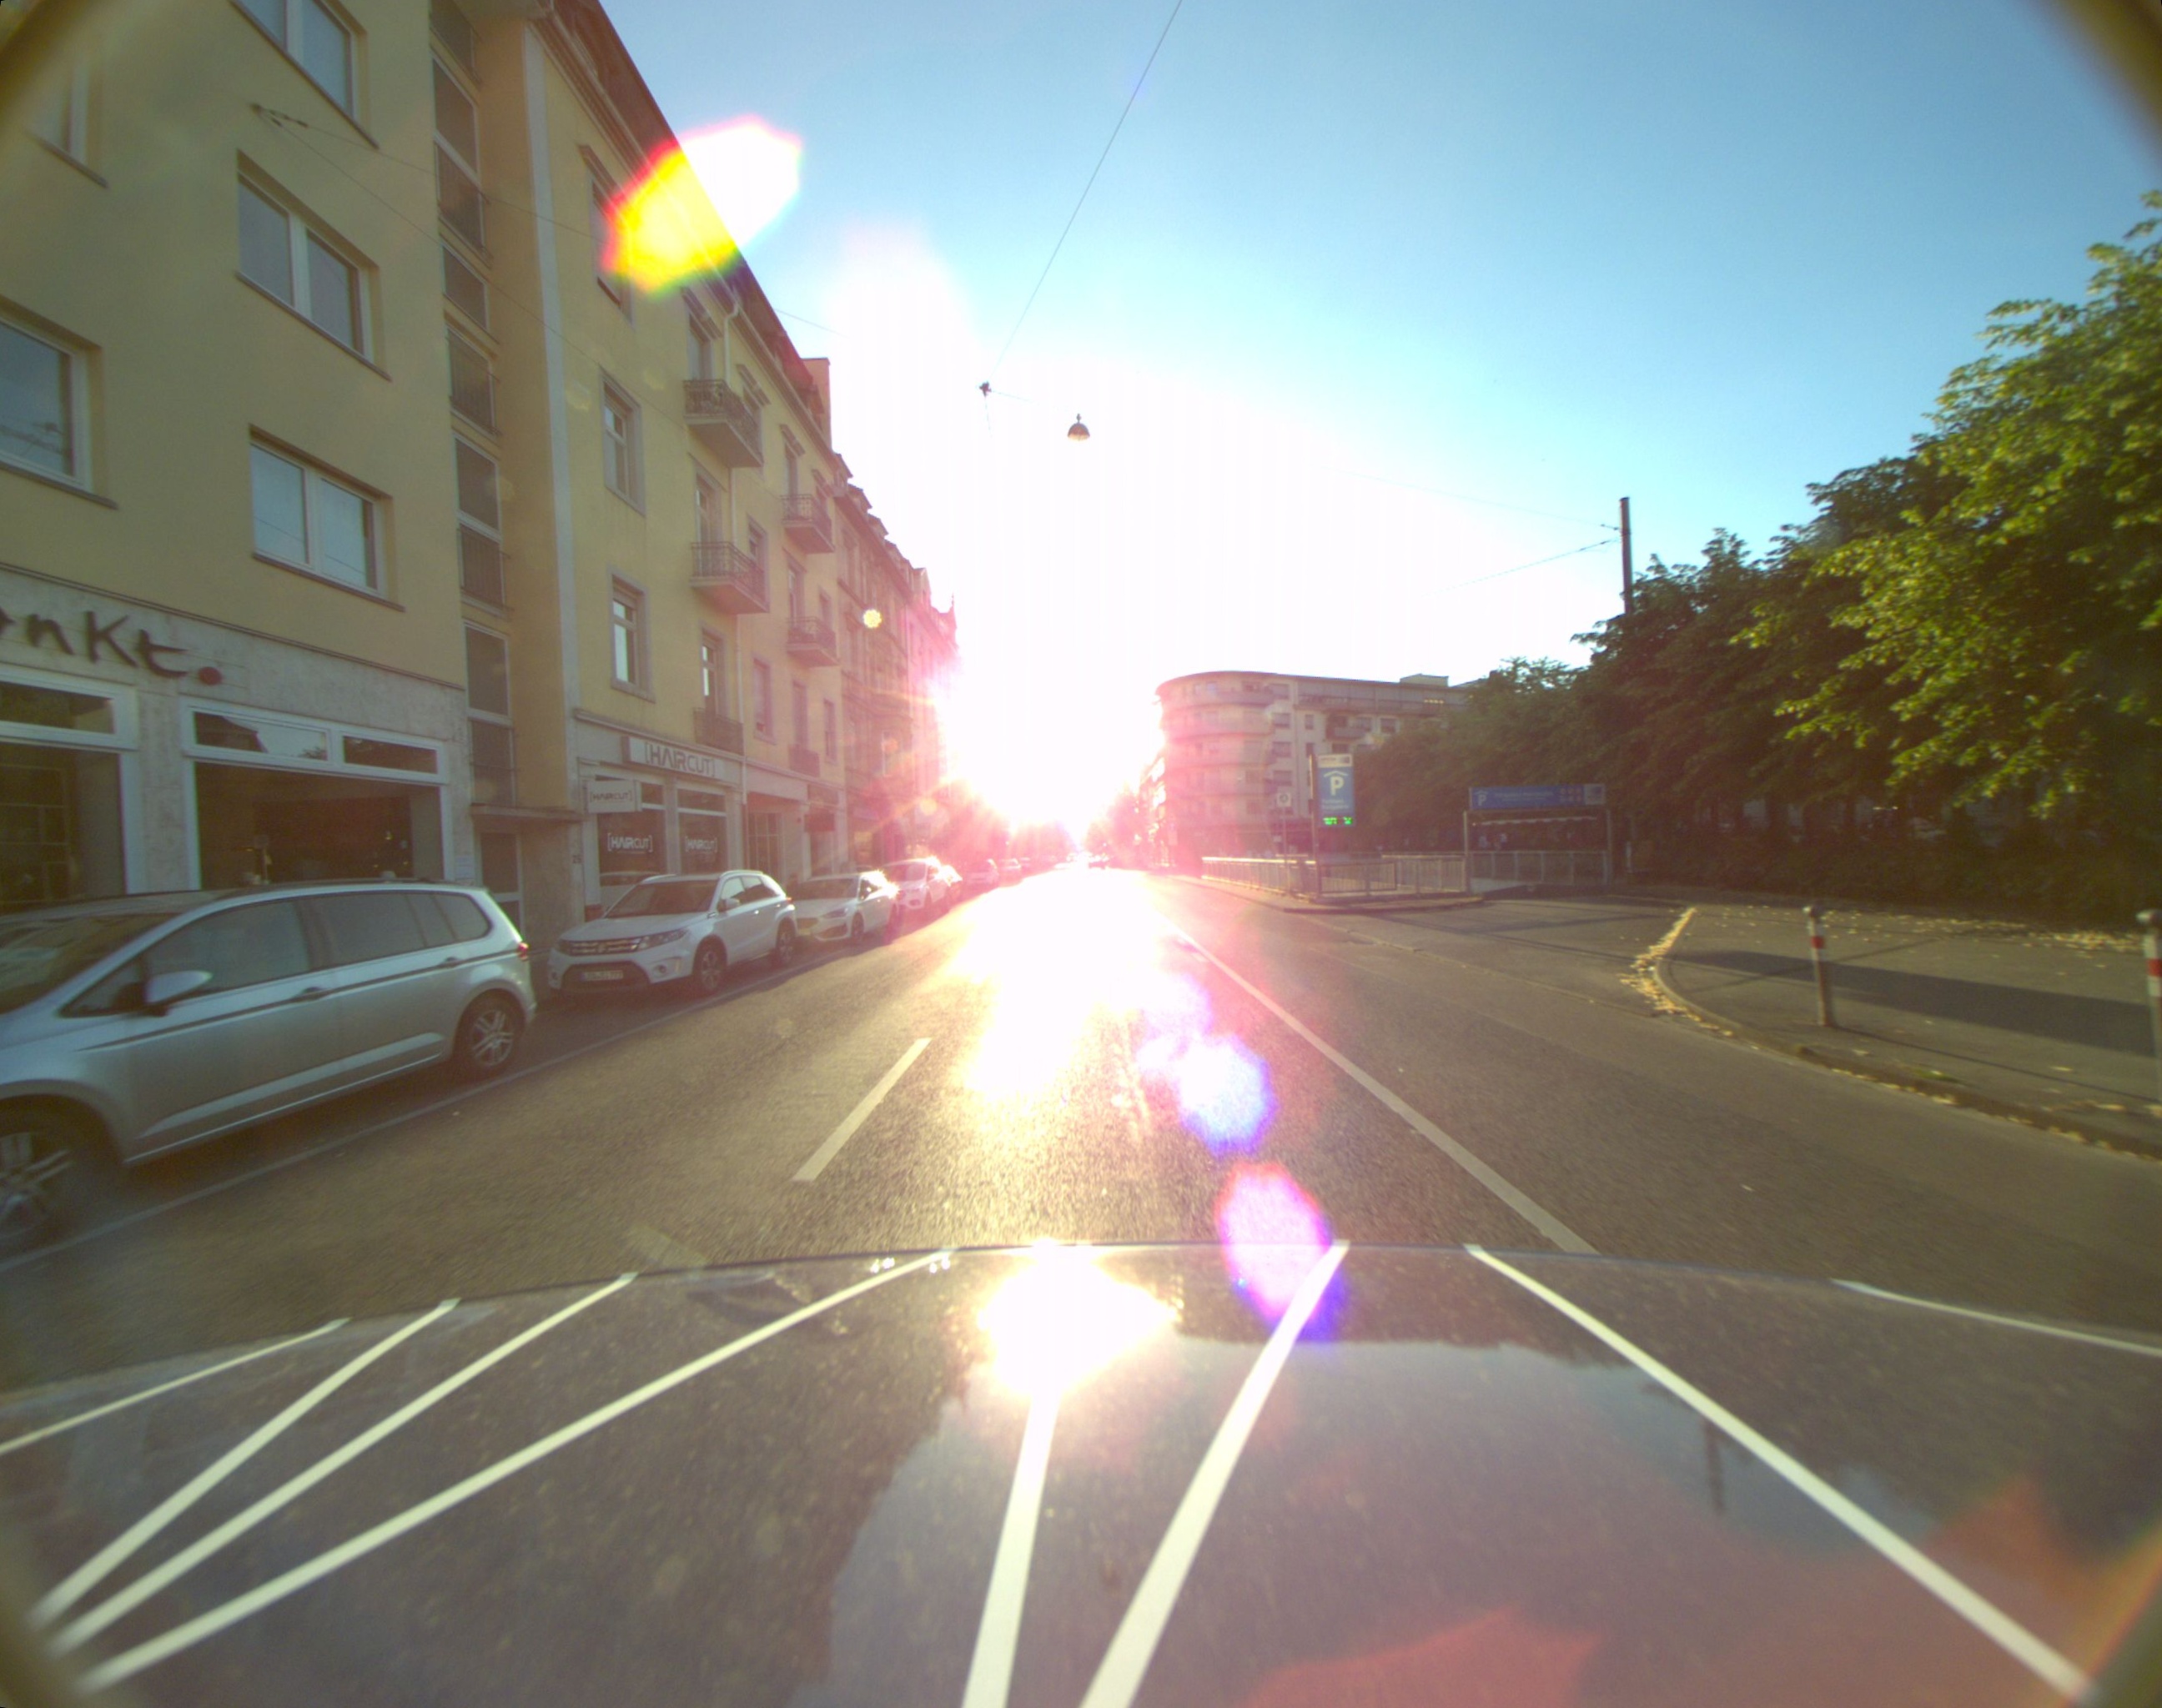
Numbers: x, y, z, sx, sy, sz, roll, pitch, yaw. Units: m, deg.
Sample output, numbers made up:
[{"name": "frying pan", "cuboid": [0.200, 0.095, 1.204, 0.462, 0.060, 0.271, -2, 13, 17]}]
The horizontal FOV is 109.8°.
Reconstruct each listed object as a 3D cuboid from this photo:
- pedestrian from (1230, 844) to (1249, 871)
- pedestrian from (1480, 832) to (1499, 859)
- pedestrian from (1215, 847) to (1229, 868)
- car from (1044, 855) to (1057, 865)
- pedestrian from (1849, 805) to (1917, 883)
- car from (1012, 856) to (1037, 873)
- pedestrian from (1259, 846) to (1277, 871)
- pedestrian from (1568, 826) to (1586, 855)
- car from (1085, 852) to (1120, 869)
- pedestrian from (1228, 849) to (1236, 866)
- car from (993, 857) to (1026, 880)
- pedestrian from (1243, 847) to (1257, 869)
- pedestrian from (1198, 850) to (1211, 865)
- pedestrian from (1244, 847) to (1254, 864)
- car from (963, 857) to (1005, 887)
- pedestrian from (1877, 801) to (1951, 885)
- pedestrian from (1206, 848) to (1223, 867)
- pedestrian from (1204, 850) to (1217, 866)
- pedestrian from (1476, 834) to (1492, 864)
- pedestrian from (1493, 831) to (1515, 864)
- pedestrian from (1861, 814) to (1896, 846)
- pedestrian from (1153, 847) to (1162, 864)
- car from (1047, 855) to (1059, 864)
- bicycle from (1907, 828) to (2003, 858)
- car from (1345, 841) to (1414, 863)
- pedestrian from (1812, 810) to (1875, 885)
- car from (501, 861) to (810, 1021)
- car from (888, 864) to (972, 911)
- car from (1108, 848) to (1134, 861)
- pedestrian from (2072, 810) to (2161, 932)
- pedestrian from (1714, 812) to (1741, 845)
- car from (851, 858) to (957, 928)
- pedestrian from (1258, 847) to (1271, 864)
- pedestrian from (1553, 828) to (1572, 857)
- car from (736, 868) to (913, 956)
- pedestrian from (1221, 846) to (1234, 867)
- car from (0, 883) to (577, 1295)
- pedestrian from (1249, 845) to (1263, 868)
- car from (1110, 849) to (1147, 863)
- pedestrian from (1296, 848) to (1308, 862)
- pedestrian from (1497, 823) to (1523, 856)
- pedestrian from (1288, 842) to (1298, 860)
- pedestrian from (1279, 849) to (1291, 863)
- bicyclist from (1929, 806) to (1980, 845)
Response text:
[{"name": "pedestrian", "cuboid": [11.308, 0.255, 54.273, 0.891, 1.872, 0.983, -2, -1, -21]}, {"name": "pedestrian", "cuboid": [28.172, -0.587, 52.367, 0.798, 1.771, 0.761, -3, 1, -22]}, {"name": "pedestrian", "cuboid": [12.477, 0.344, 67.222, 0.870, 1.783, 0.850, -2, -1, -21]}, {"name": "car", "cuboid": [-4.875, 0.936, 121.648, 1.999, 1.543, 3.999, -2, 0, -1]}, {"name": "pedestrian", "cuboid": [21.492, -0.255, 20.389, 0.912, 2.002, 0.920, -3, 1, 23]}, {"name": "car", "cuboid": [-5.510, 1.025, 74.538, 1.998, 1.511, 4.000, -1, 0, 1]}, {"name": "pedestrian", "cuboid": [13.476, 0.308, 54.817, 0.982, 1.783, 0.892, -3, -1, 29]}, {"name": "pedestrian", "cuboid": [27.340, -0.722, 41.911, 0.678, 1.533, 0.593, -3, -1, 23]}, {"name": "car", "cuboid": [2.237, 0.642, 77.851, 1.806, 1.400, 4.623, -2, 2, 26]}, {"name": "pedestrian", "cuboid": [14.114, 0.352, 71.009, 0.647, 1.526, 0.753, -3, -1, 9]}, {"name": "car", "cuboid": [-5.219, 1.066, 56.185, 1.999, 1.526, 4.682, -3, -1, -1]}, {"name": "pedestrian", "cuboid": [14.120, 0.332, 63.492, 0.883, 1.792, 0.713, -2, -1, -22]}, {"name": "pedestrian", "cuboid": [11.302, 0.330, 69.281, 0.684, 1.274, 0.969, -2, 3, 41]}, {"name": "pedestrian", "cuboid": [15.779, 0.163, 71.307, 0.655, 1.527, 0.674, -2, 3, -26]}, {"name": "car", "cuboid": [-5.418, 1.004, 42.782, 1.704, 1.575, 4.000, -2, -1, 1]}, {"name": "pedestrian", "cuboid": [20.799, -0.262, 18.998, 0.912, 2.002, 0.920, -3, 1, 23]}, {"name": "pedestrian", "cuboid": [12.171, 0.324, 69.405, 0.690, 1.525, 0.714, 32, -4, -9]}, {"name": "pedestrian", "cuboid": [11.695, 0.376, 68.582, 0.768, 1.374, 0.841, -1, 2, 41]}, {"name": "pedestrian", "cuboid": [24.272, -0.312, 45.723, 0.686, 1.735, 0.717, -3, -1, 37]}, {"name": "pedestrian", "cuboid": [24.662, -0.356, 44.314, 0.781, 1.864, 0.714, -3, -1, -1]}, {"name": "pedestrian", "cuboid": [35.852, -1.075, 34.163, 1.269, 1.372, 0.736, -2, 1, -27]}, {"name": "pedestrian", "cuboid": [8.793, 0.152, 87.402, 0.730, 1.937, 0.740, -3, 1, -5]}, {"name": "car", "cuboid": [-4.749, 0.906, 129.780, 1.999, 1.543, 3.999, -2, 0, -1]}, {"name": "bicycle", "cuboid": [34.845, -0.439, 30.335, 2.324, 1.095, 0.953, -2, 0, 19]}, {"name": "car", "cuboid": [22.386, -0.123, 57.100, 2.110, 1.422, 4.441, -2, -1, -29]}, {"name": "pedestrian", "cuboid": [21.190, -0.191, 21.145, 0.912, 2.002, 0.920, -3, 1, 23]}, {"name": "car", "cuboid": [-5.659, 1.038, 10.907, 1.872, 1.751, 4.409, -3, -1, 0]}, {"name": "car", "cuboid": [-5.477, 1.170, 28.204, 1.998, 1.426, 4.850, -3, 0, 1]}, {"name": "car", "cuboid": [6.693, 0.078, 126.863, 3.998, 2.002, 1.999, -3, 0, -3]}, {"name": "pedestrian", "cuboid": [17.201, 0.275, 12.485, 0.803, 1.937, 0.731, -2, 1, 13]}, {"name": "pedestrian", "cuboid": [33.866, -1.332, 39.784, 0.922, 1.716, 0.701, -2, 0, -25]}, {"name": "car", "cuboid": [-4.989, 1.061, 22.082, 1.887, 1.734, 4.660, -3, -1, 0]}, {"name": "pedestrian", "cuboid": [17.275, 0.119, 71.548, 0.680, 1.526, 0.851, -2, -1, -27]}, {"name": "pedestrian", "cuboid": [26.747, -0.631, 42.221, 0.797, 1.572, 0.732, -3, -1, 31]}, {"name": "car", "cuboid": [-5.264, 1.118, 16.426, 2.020, 1.534, 4.870, -3, -1, 1]}, {"name": "pedestrian", "cuboid": [12.726, 0.247, 66.154, 0.737, 1.783, 0.811, -2, -1, -21]}, {"name": "car", "cuboid": [-5.674, 1.126, 4.612, 1.999, 1.603, 4.803, -3, 0, -1]}, {"name": "pedestrian", "cuboid": [14.720, 0.215, 63.940, 0.853, 1.865, 0.713, -2, -1, -30]}, {"name": "car", "cuboid": [5.868, 0.216, 94.640, 4.442, 1.532, 1.817, -2, 0, -1]}, {"name": "pedestrian", "cuboid": [21.125, 0.087, 72.690, 0.850, 1.271, 0.715, -1, 4, 45]}, {"name": "pedestrian", "cuboid": [25.339, -0.855, 44.894, 0.986, 1.842, 0.888, -2, -1, -30]}, {"name": "pedestrian", "cuboid": [21.056, -0.323, 75.457, 0.669, 1.710, 0.717, -2, 0, -25]}, {"name": "pedestrian", "cuboid": [19.241, 0.166, 71.696, 0.853, 1.298, 0.878, -2, 2, -4]}, {"name": "bicyclist", "cuboid": [34.881, -1.121, 30.373, 0.751, 1.501, 1.383, -2, 0, 21]}]
